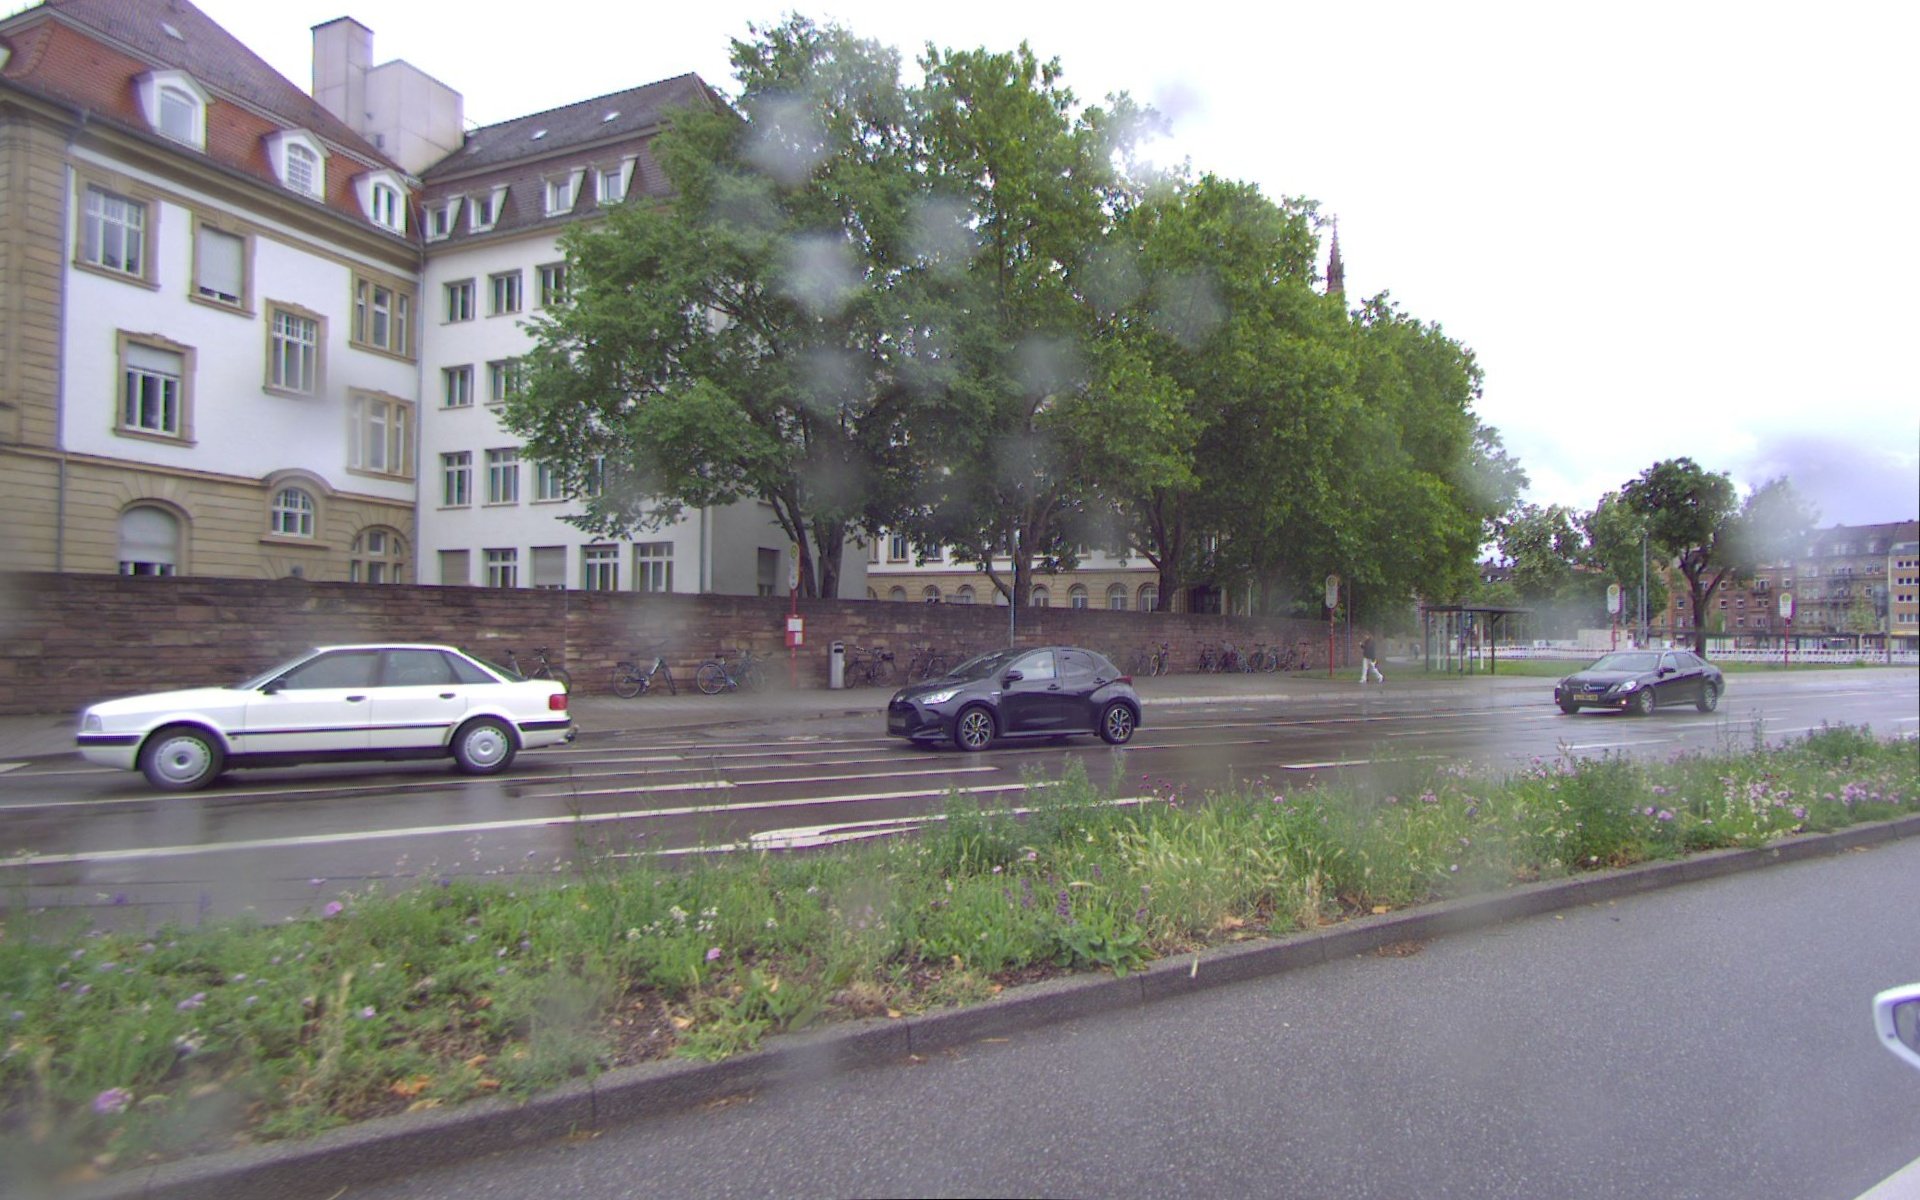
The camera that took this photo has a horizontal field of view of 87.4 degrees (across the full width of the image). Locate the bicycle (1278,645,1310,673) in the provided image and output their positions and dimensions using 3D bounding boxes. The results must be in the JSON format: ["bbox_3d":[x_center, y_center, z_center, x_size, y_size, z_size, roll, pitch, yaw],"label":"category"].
[{"bbox_3d":[14.603,2.558,43.866,0.567,1.151,1.980,-1,-2,43],"label":"bicycle"}]

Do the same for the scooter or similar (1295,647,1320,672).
[{"bbox_3d":[15.551,2.660,44.951,0.566,1.060,1.354,-1,-2,43],"label":"scooter or similar"}]

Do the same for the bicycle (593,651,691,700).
[{"bbox_3d":[-6.802,1.597,21.522,1.848,0.996,0.726,2,-2,-37],"label":"bicycle"}]

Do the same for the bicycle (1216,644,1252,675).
[{"bbox_3d":[10.622,2.297,38.884,0.566,1.151,1.982,-1,-2,39],"label":"bicycle"}]

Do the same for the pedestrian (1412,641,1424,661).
[{"bbox_3d":[41.798,4.644,91.648,0.764,1.801,0.721,1,-2,-27],"label":"pedestrian"}]

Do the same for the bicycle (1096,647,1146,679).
[{"bbox_3d":[5.275,2.043,32.943,1.688,0.996,0.725,2,-2,-42],"label":"bicycle"}]

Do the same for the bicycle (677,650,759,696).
[{"bbox_3d":[-5.500,1.646,22.882,1.688,0.996,0.725,2,-2,-42],"label":"bicycle"}]

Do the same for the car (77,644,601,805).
[{"bbox_3d":[-6.354,1.213,10.834,4.471,1.434,1.589,2,-4,-30],"label":"car"}]

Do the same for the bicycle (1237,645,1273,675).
[{"bbox_3d":[11.892,2.403,40.513,0.567,1.151,1.980,-1,-2,43],"label":"bicycle"}]

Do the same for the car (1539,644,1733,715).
[{"bbox_3d":[16.063,1.835,23.827,4.643,1.560,1.802,1,-4,-27],"label":"car"}]

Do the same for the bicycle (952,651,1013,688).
[{"bbox_3d":[0.644,1.953,28.538,1.688,0.996,0.725,2,-2,-42],"label":"bicycle"}]

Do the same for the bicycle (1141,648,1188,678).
[{"bbox_3d":[7.048,2.148,34.634,1.688,0.996,0.725,2,-2,-42],"label":"bicycle"}]

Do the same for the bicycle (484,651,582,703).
[{"bbox_3d":[-8.690,1.547,20.482,1.688,0.996,0.725,2,-2,-42],"label":"bicycle"}]

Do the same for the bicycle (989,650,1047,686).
[{"bbox_3d":[1.700,1.987,29.366,1.688,0.996,0.725,2,-2,-42],"label":"bicycle"}]

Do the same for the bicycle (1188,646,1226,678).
[{"bbox_3d":[9.119,2.265,37.003,0.566,1.151,1.982,-1,-2,39],"label":"bicycle"}]

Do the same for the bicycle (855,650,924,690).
[{"bbox_3d":[-1.826,1.805,26.104,1.688,0.996,0.725,2,-2,-42],"label":"bicycle"}]

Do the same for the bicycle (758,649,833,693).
[{"bbox_3d":[-3.994,1.707,24.428,1.688,0.996,0.725,2,-2,-42],"label":"bicycle"}]

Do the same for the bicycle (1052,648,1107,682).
[{"bbox_3d":[3.648,1.967,30.649,1.688,0.996,0.725,2,-2,-42],"label":"bicycle"}]

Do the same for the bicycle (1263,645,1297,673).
[{"bbox_3d":[13.434,2.468,42.171,0.567,1.151,1.980,-1,-2,43],"label":"bicycle"}]

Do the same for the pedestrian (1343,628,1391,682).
[{"bbox_3d":[13.249,1.784,32.717,1.387,1.718,0.862,2,-2,-37],"label":"pedestrian"}]

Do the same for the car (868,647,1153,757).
[{"bbox_3d":[0.792,1.435,14.964,4.018,1.434,1.616,2,-4,-30],"label":"car"}]

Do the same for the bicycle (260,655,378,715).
[{"bbox_3d":[-11.586,1.519,18.180,1.688,0.996,0.725,2,-2,-42],"label":"bicycle"}]

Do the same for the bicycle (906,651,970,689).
[{"bbox_3d":[-0.592,1.889,27.332,1.688,0.996,0.725,2,-2,-42],"label":"bicycle"}]
